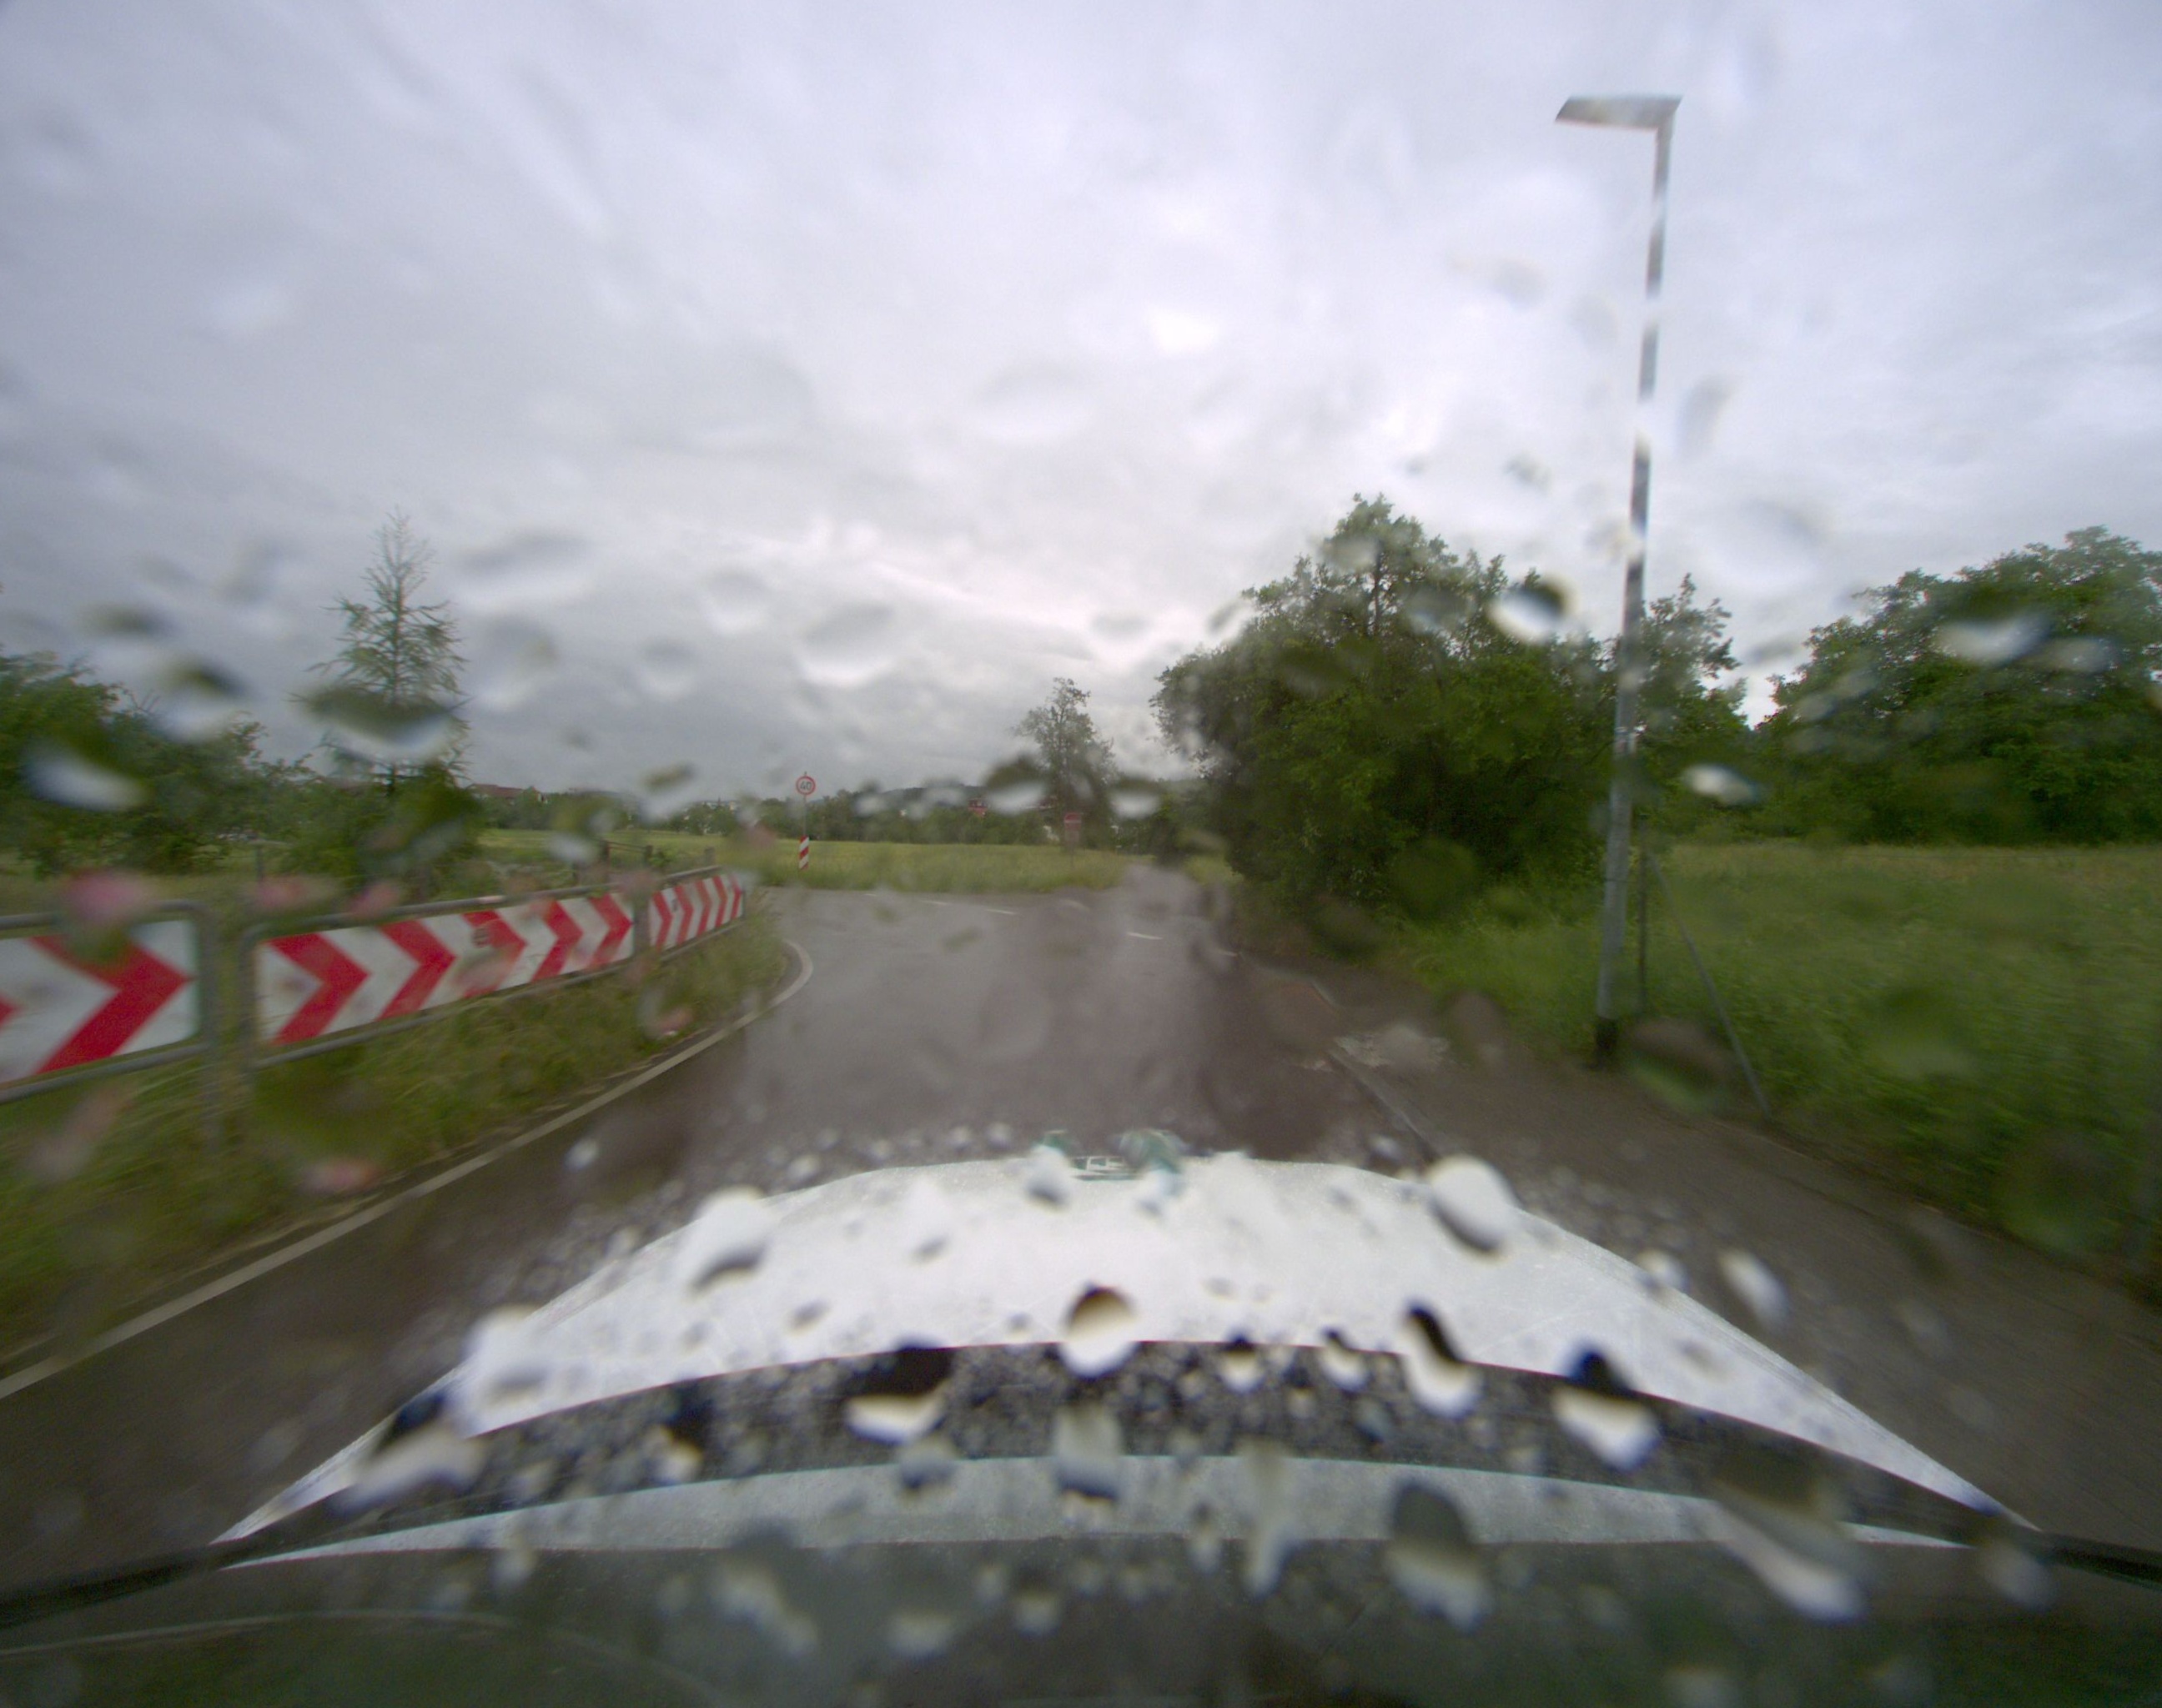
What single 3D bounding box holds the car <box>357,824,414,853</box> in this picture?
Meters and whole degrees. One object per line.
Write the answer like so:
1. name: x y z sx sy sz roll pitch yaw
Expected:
1. car: -39.621 -0.894 46.355 3.949 1.593 1.832 0 1 40
